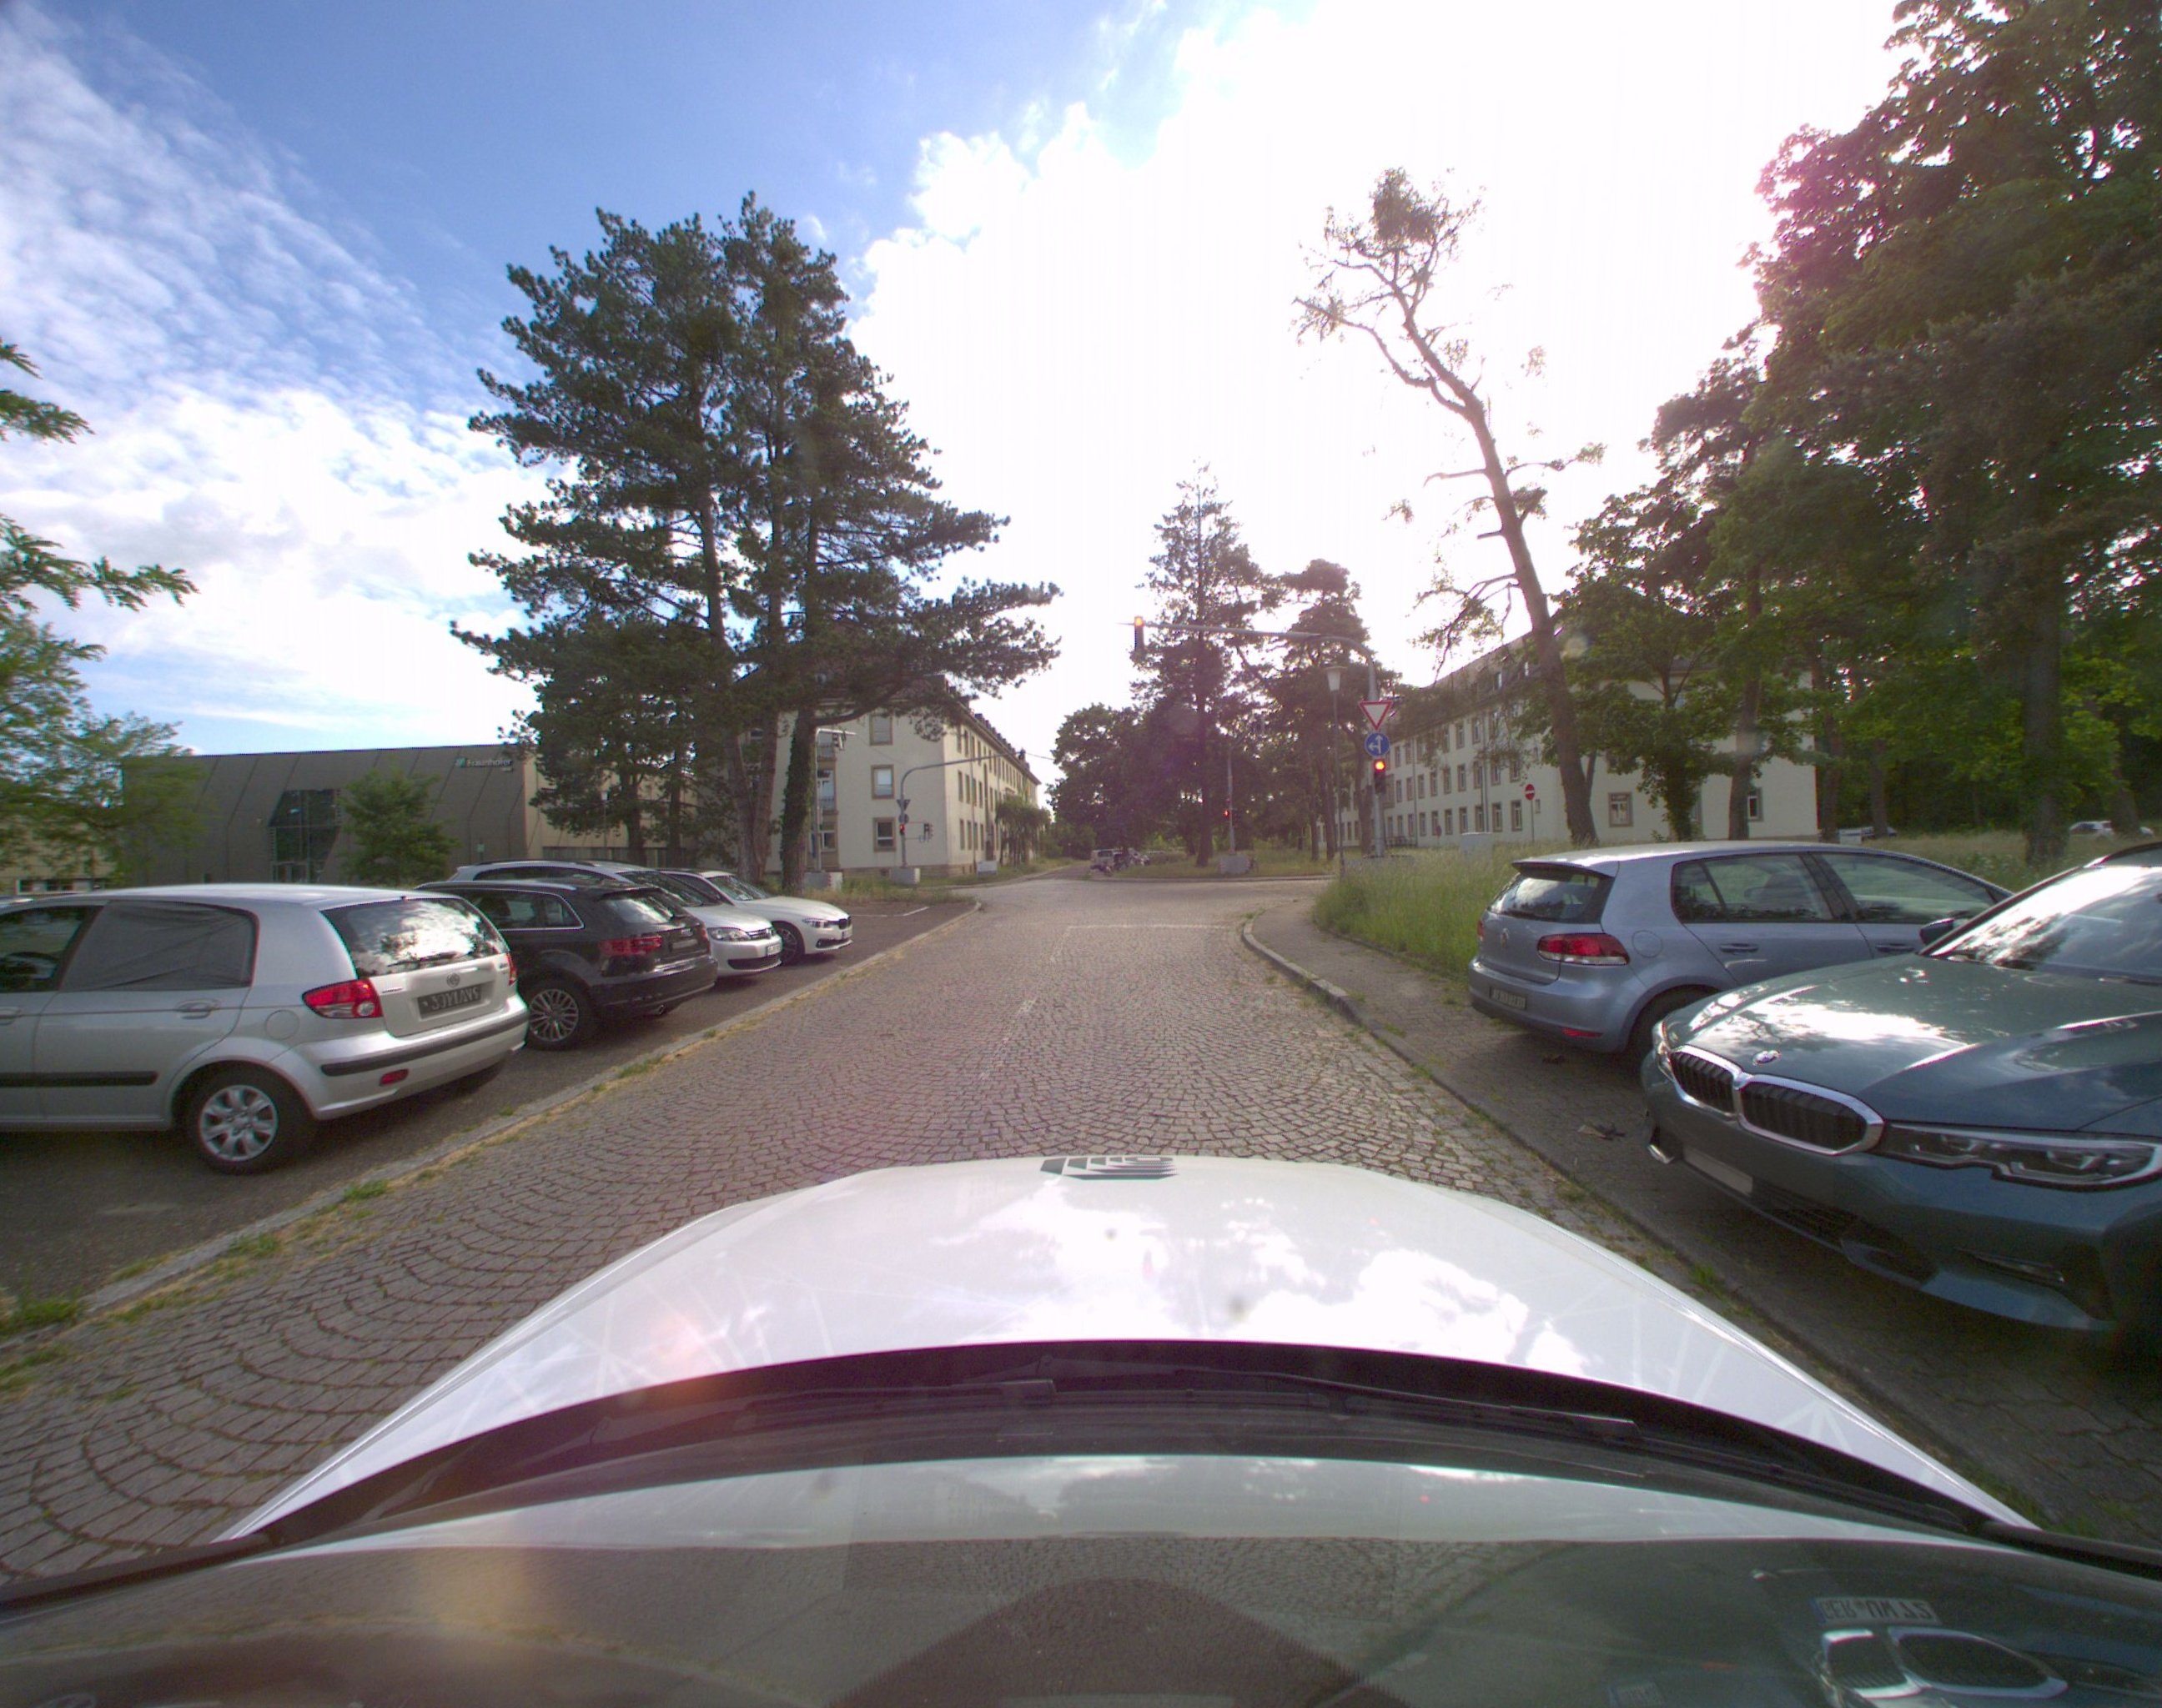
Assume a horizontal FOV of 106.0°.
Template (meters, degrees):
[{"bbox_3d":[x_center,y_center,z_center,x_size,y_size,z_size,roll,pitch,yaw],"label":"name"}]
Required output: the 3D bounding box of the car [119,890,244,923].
[{"bbox_3d":[-46.926,2.703,42.628,1.749,1.414,4.138,-2,0,5],"label":"car"}]

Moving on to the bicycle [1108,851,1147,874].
[{"bbox_3d":[3.392,0.601,59.496,2.761,1.694,1.122,0,0,6],"label":"bicycle"}]

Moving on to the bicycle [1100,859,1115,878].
[{"bbox_3d":[1.636,0.878,50.497,0.722,1.107,2.464,-7,-1,4],"label":"bicycle"}]

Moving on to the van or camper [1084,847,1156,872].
[{"bbox_3d":[3.460,0.502,72.717,6.036,1.948,1.992,-2,0,-12],"label":"van or camper"}]

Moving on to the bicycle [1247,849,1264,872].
[{"bbox_3d":[9.131,0.353,42.757,0.720,1.169,2.743,0,0,9],"label":"bicycle"}]

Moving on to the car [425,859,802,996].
[{"bbox_3d":[-5.830,0.873,10.521,3.820,1.607,1.735,0,0,-1],"label":"car"}]

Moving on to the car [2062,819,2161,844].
[{"bbox_3d":[59.006,-1.255,46.528,3.971,1.398,1.564,0,0,2],"label":"car"}]

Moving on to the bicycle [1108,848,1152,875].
[{"bbox_3d":[3.278,0.477,54.735,2.770,1.694,1.119,-2,0,-4],"label":"bicycle"}]

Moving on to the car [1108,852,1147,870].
[{"bbox_3d":[3.948,0.599,69.122,3.131,1.354,1.618,-2,0,-4],"label":"car"}]

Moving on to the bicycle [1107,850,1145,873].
[{"bbox_3d":[3.362,0.588,60.836,2.764,1.694,1.121,0,0,3],"label":"bicycle"}]

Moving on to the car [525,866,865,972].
[{"bbox_3d":[-5.920,0.971,12.927,4.465,1.442,1.829,1,0,-2],"label":"car"}]

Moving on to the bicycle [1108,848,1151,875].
[{"bbox_3d":[3.302,0.504,55.930,2.771,1.694,1.118,-2,0,-6],"label":"bicycle"}]

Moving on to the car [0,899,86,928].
[{"bbox_3d":[-56.094,3.196,43.051,1.598,1.272,4.204,-2,0,5],"label":"car"}]

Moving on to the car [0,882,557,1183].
[{"bbox_3d":[-5.559,0.951,5.004,3.565,1.475,1.647,0,0,-1],"label":"car"}]

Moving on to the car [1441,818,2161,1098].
[{"bbox_3d":[4.764,0.605,5.589,3.828,1.471,1.642,-3,0,1],"label":"car"}]

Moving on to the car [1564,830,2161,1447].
[{"bbox_3d":[4.558,0.652,2.983,4.499,1.483,1.807,-2,0,-1],"label":"car"}]

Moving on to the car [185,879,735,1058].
[{"bbox_3d":[-5.532,0.974,7.614,3.822,1.408,1.696,0,0,1],"label":"car"}]
